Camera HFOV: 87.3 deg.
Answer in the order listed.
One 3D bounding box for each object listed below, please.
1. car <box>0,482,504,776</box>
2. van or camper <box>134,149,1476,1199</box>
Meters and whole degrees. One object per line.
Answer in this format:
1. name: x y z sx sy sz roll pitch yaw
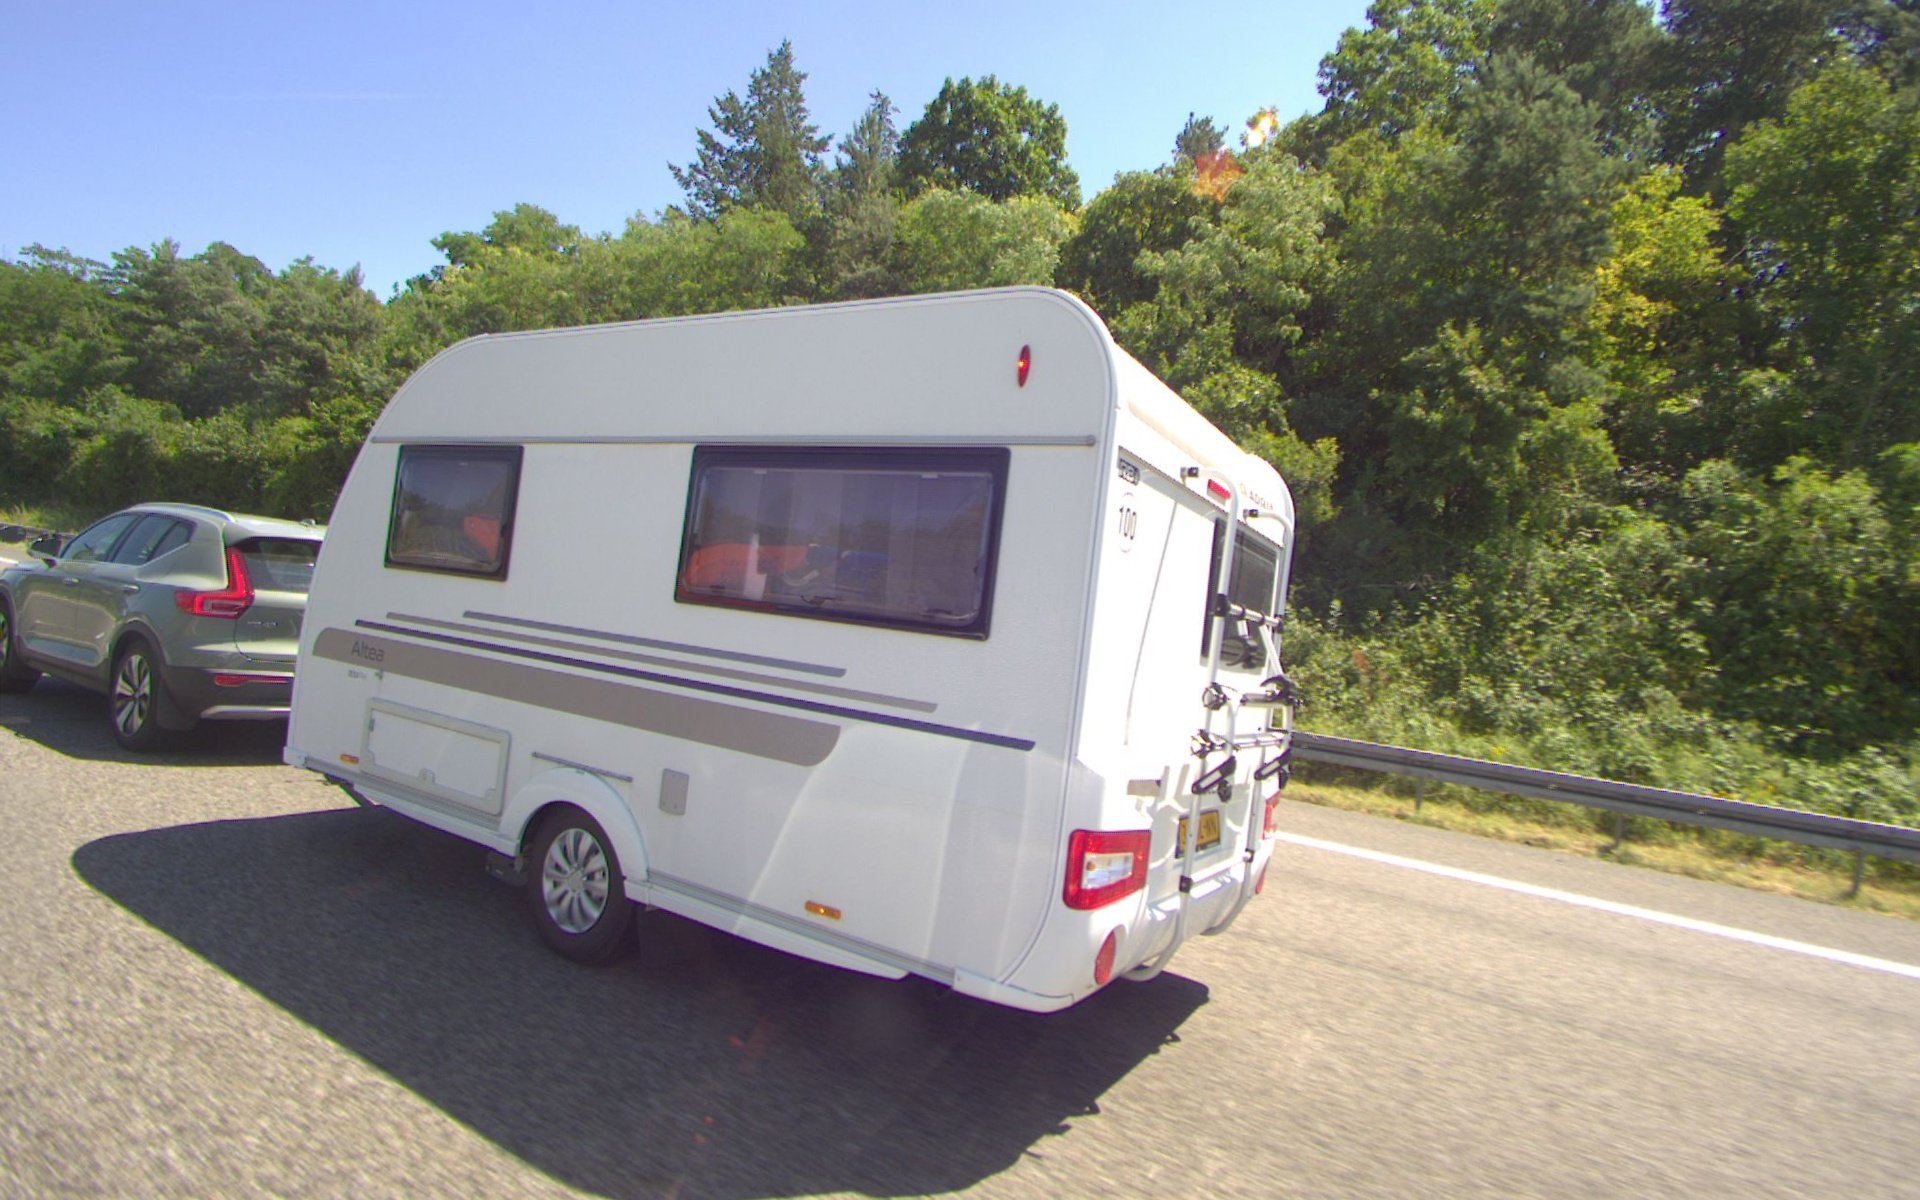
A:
1. car: -5.966 0.095 7.973 4.623 1.631 1.882 6 -1 31
2. van or camper: -1.123 0.083 5.043 6.243 2.705 2.445 7 -2 31
